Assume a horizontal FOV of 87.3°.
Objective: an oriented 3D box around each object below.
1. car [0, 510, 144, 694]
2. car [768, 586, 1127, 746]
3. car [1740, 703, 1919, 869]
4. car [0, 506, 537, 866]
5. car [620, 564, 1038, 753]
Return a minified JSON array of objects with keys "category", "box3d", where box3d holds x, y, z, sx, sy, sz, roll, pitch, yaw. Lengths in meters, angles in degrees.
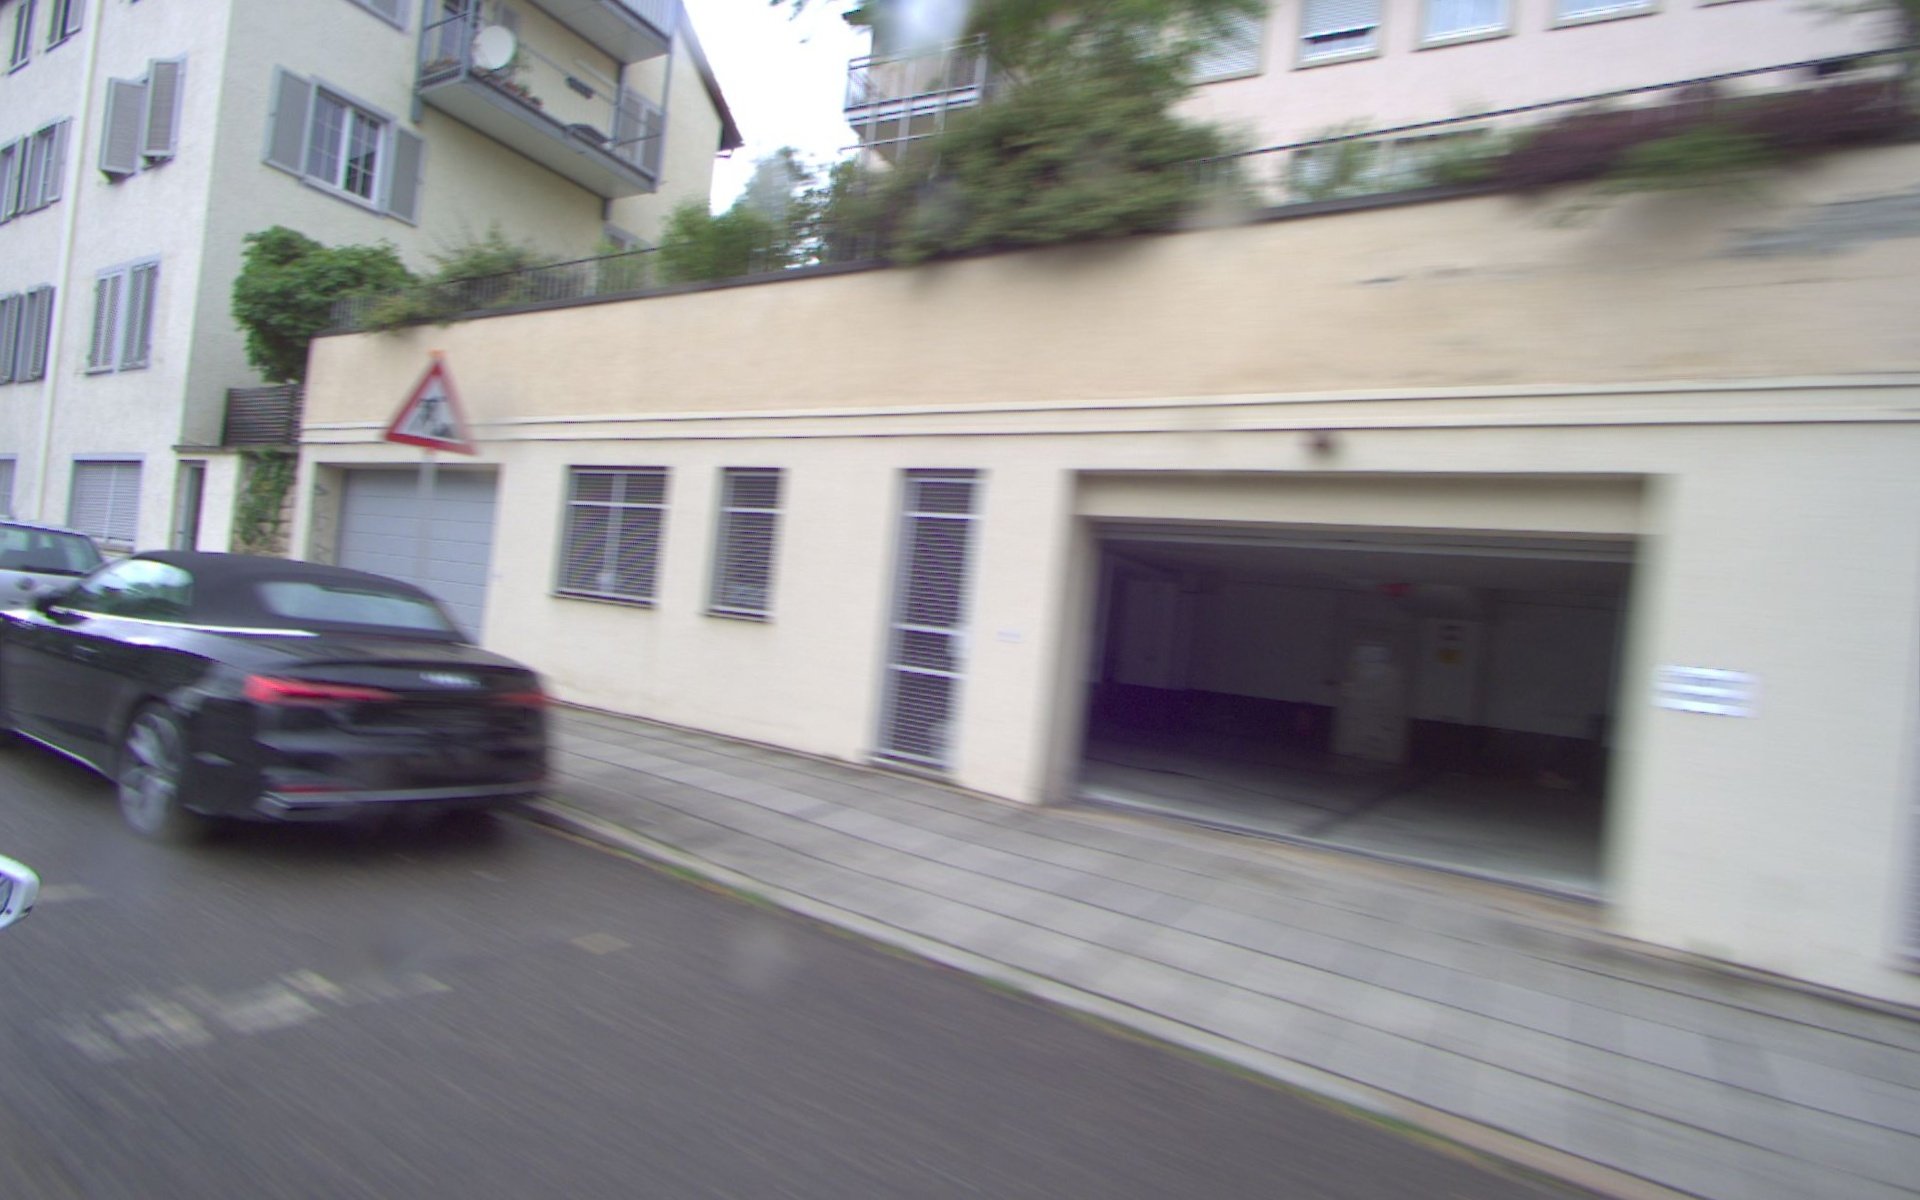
[{"category":"car","box3d":[-9.509,-0.157,9.425,3.697,1.470,1.633,7,-2,32]},{"category":"car","box3d":[-0.192,0.809,12.991,4.132,1.417,1.891,6,-2,29]},{"category":"car","box3d":[9.987,1.888,9.310,4.137,1.362,1.889,4,-3,34]},{"category":"car","box3d":[-4.560,0.362,6.169,3.697,1.470,1.633,7,-2,32]},{"category":"car","box3d":[-1.478,0.590,11.056,4.132,1.417,1.891,6,-2,29]}]
